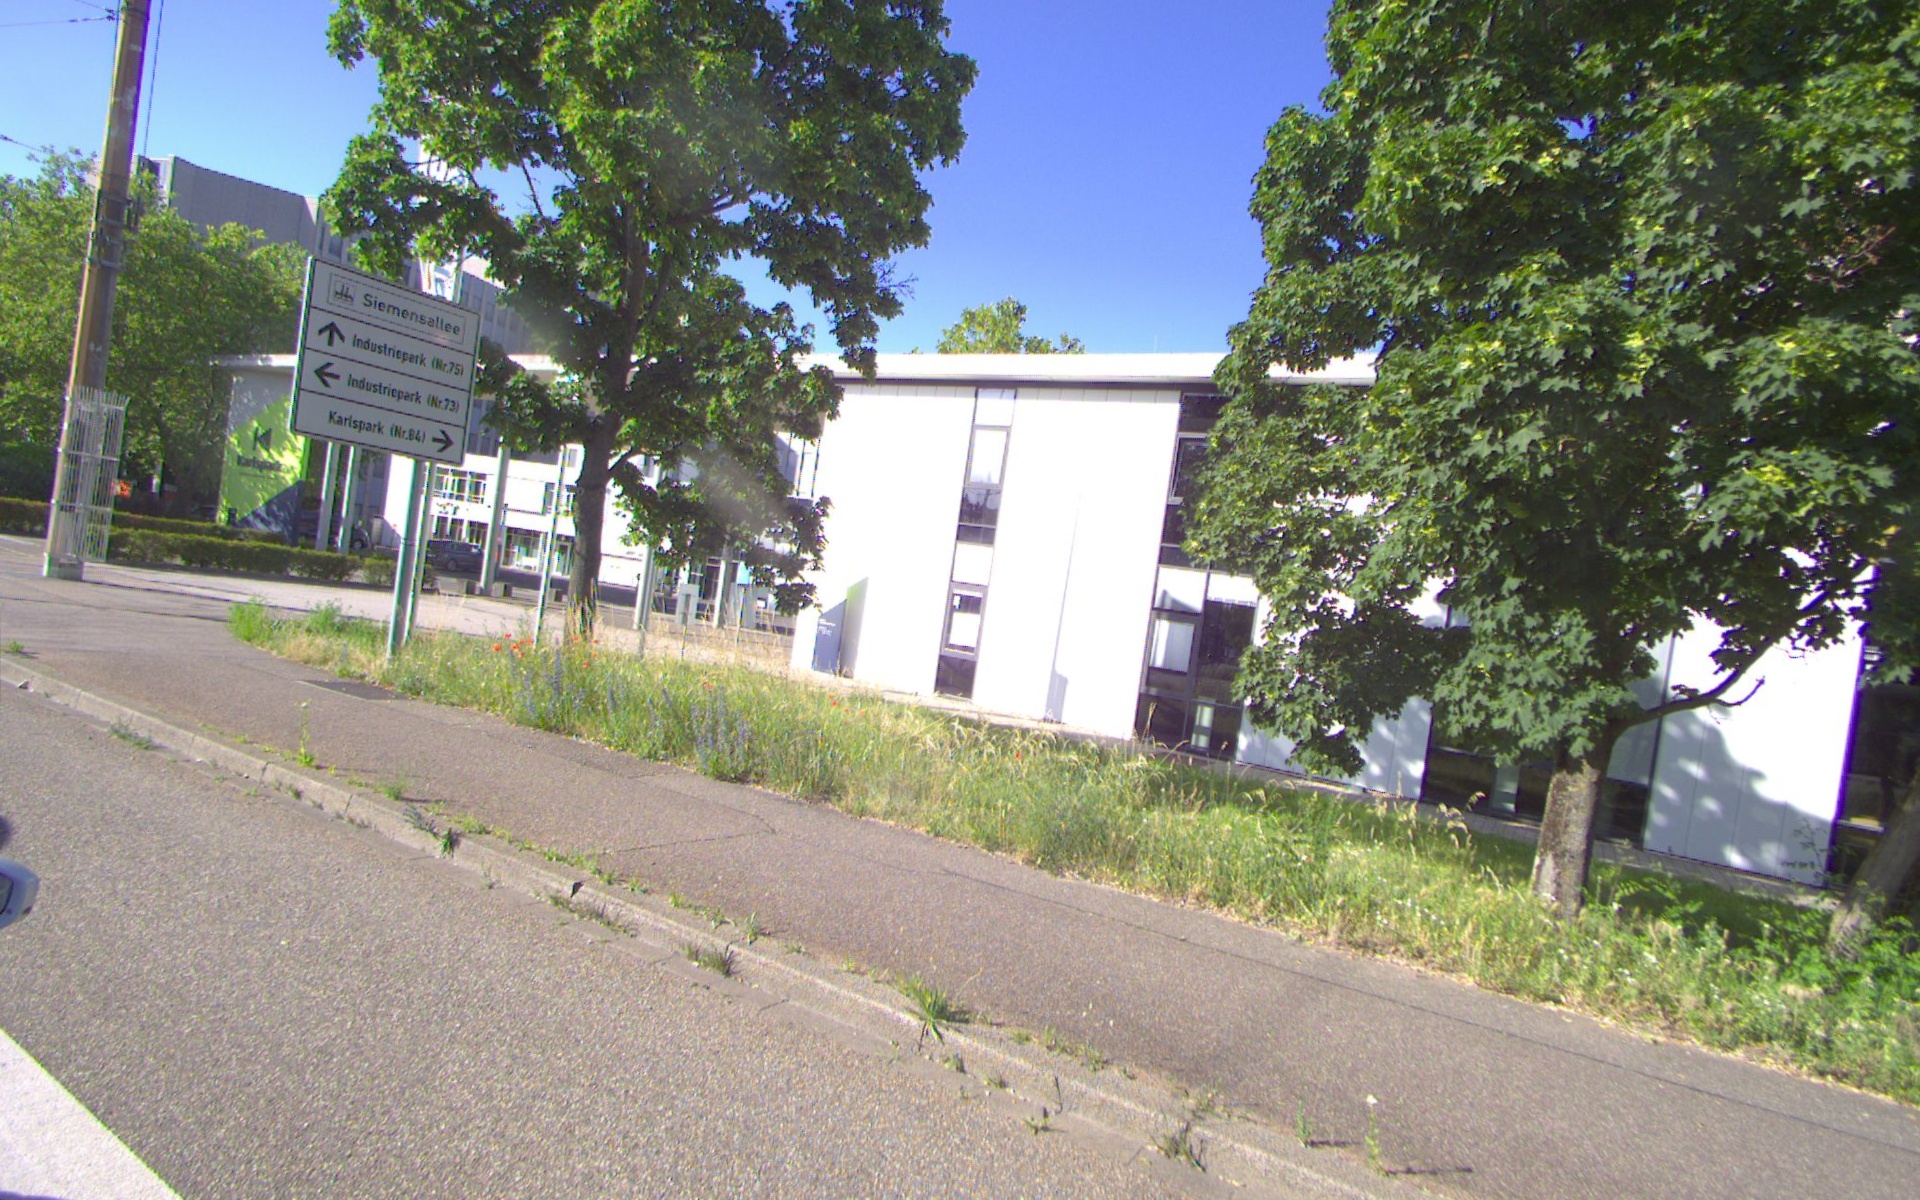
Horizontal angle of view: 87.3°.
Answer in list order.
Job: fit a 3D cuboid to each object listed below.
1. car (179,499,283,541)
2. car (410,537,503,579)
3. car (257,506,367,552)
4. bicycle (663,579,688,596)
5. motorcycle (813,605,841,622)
[{"bbox_3d":[-42.654,-4.644,58.967,1.861,1.706,4.468,8,-1,26],"label":"car"},{"bbox_3d":[-26.676,-2.215,53.451,1.918,1.597,4.000,8,-1,23],"label":"car"},{"bbox_3d":[-36.279,-3.958,56.508,2.052,1.778,4.900,8,-1,17],"label":"car"},{"bbox_3d":[-20.258,-0.872,71.669,1.591,1.016,0.566,8,0,17],"label":"bicycle"},{"bbox_3d":[-8.973,0.908,67.858,1.701,0.959,0.653,8,0,17],"label":"motorcycle"}]
